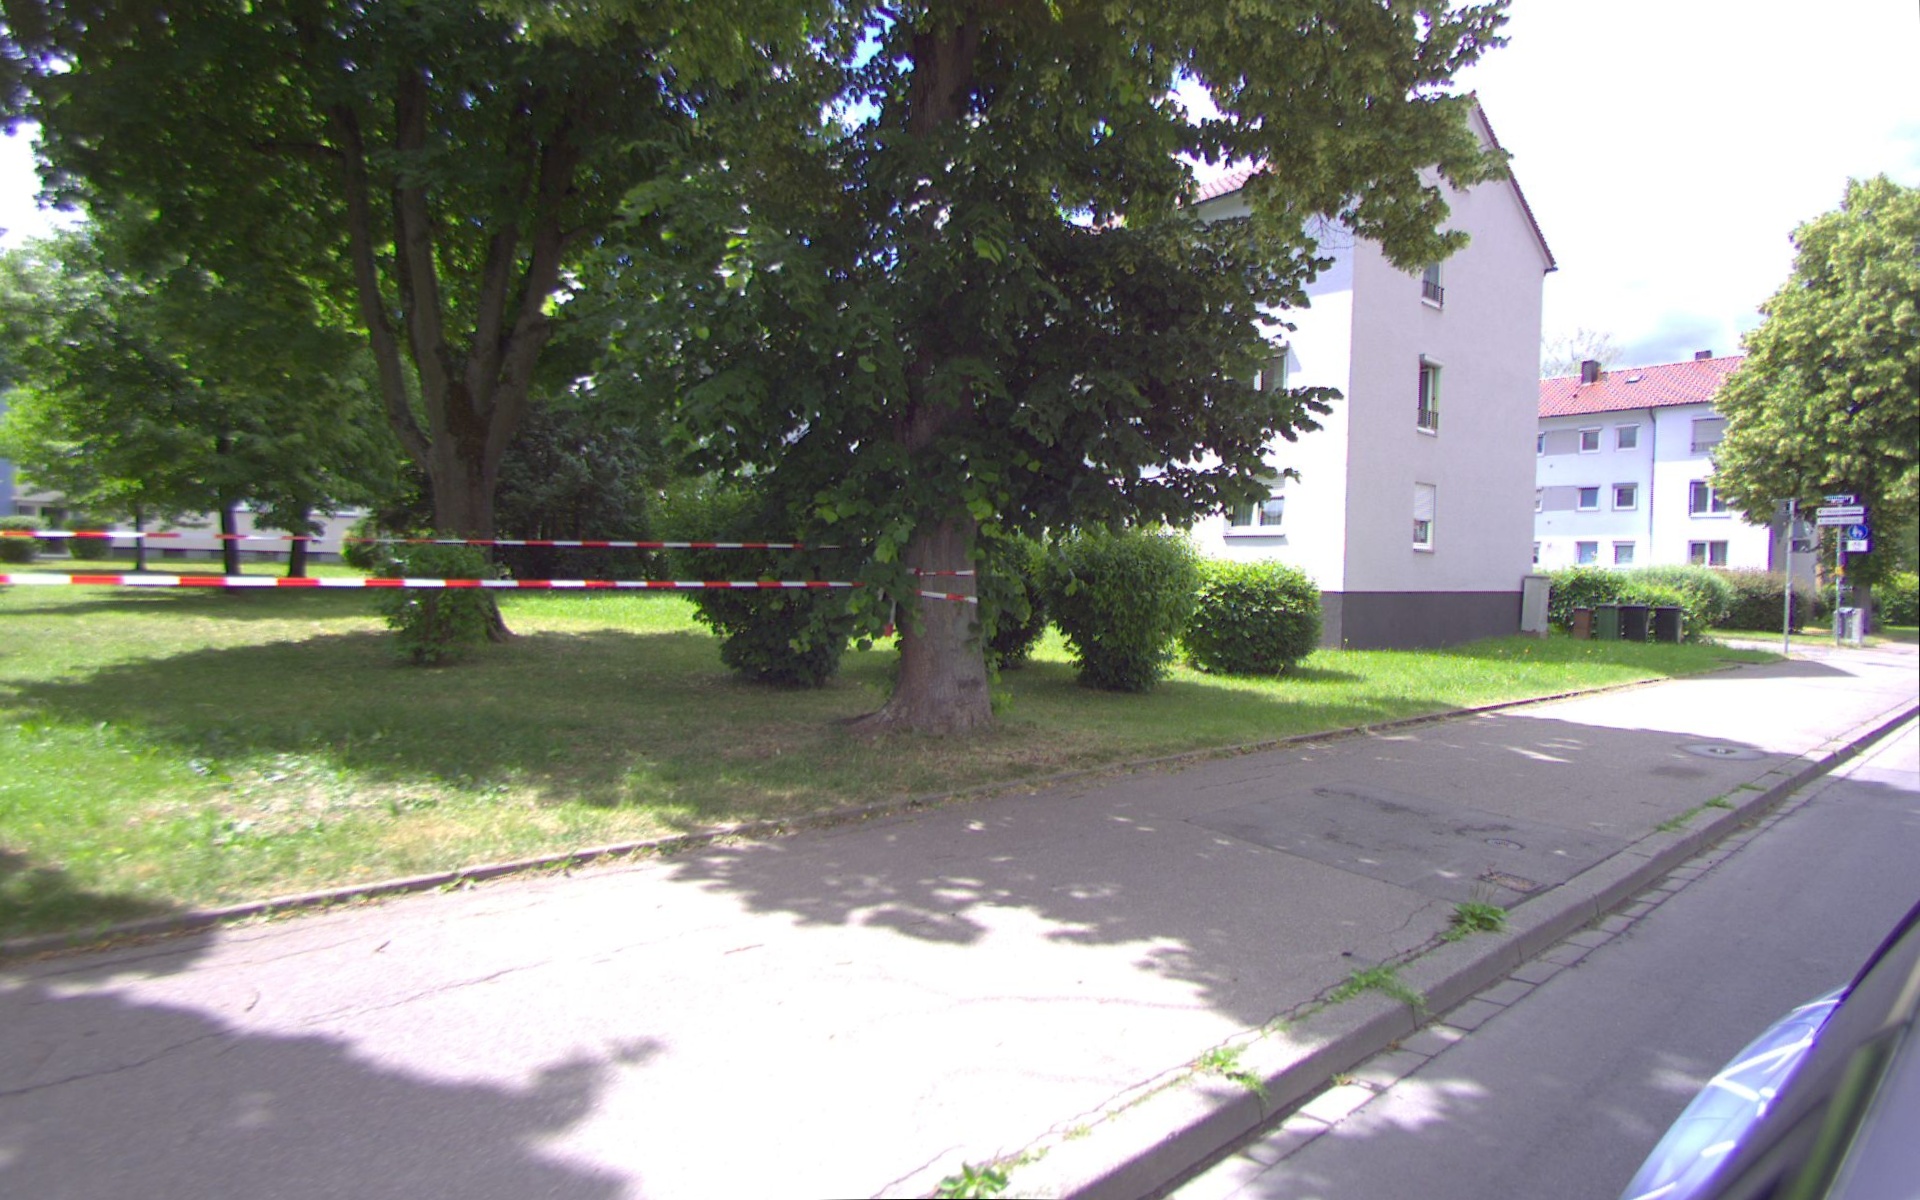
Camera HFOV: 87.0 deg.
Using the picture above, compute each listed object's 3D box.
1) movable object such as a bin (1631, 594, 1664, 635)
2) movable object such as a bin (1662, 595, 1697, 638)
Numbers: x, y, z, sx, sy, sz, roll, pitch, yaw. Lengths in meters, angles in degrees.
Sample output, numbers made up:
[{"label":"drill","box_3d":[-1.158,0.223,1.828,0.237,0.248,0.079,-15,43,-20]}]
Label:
[{"label":"movable object such as a bin","box_3d":[16.546,0.341,24.348,0.541,0.959,0.501,1,2,-41]},{"label":"movable object such as a bin","box_3d":[16.939,0.379,23.822,0.570,0.966,0.497,0,2,-41]}]
